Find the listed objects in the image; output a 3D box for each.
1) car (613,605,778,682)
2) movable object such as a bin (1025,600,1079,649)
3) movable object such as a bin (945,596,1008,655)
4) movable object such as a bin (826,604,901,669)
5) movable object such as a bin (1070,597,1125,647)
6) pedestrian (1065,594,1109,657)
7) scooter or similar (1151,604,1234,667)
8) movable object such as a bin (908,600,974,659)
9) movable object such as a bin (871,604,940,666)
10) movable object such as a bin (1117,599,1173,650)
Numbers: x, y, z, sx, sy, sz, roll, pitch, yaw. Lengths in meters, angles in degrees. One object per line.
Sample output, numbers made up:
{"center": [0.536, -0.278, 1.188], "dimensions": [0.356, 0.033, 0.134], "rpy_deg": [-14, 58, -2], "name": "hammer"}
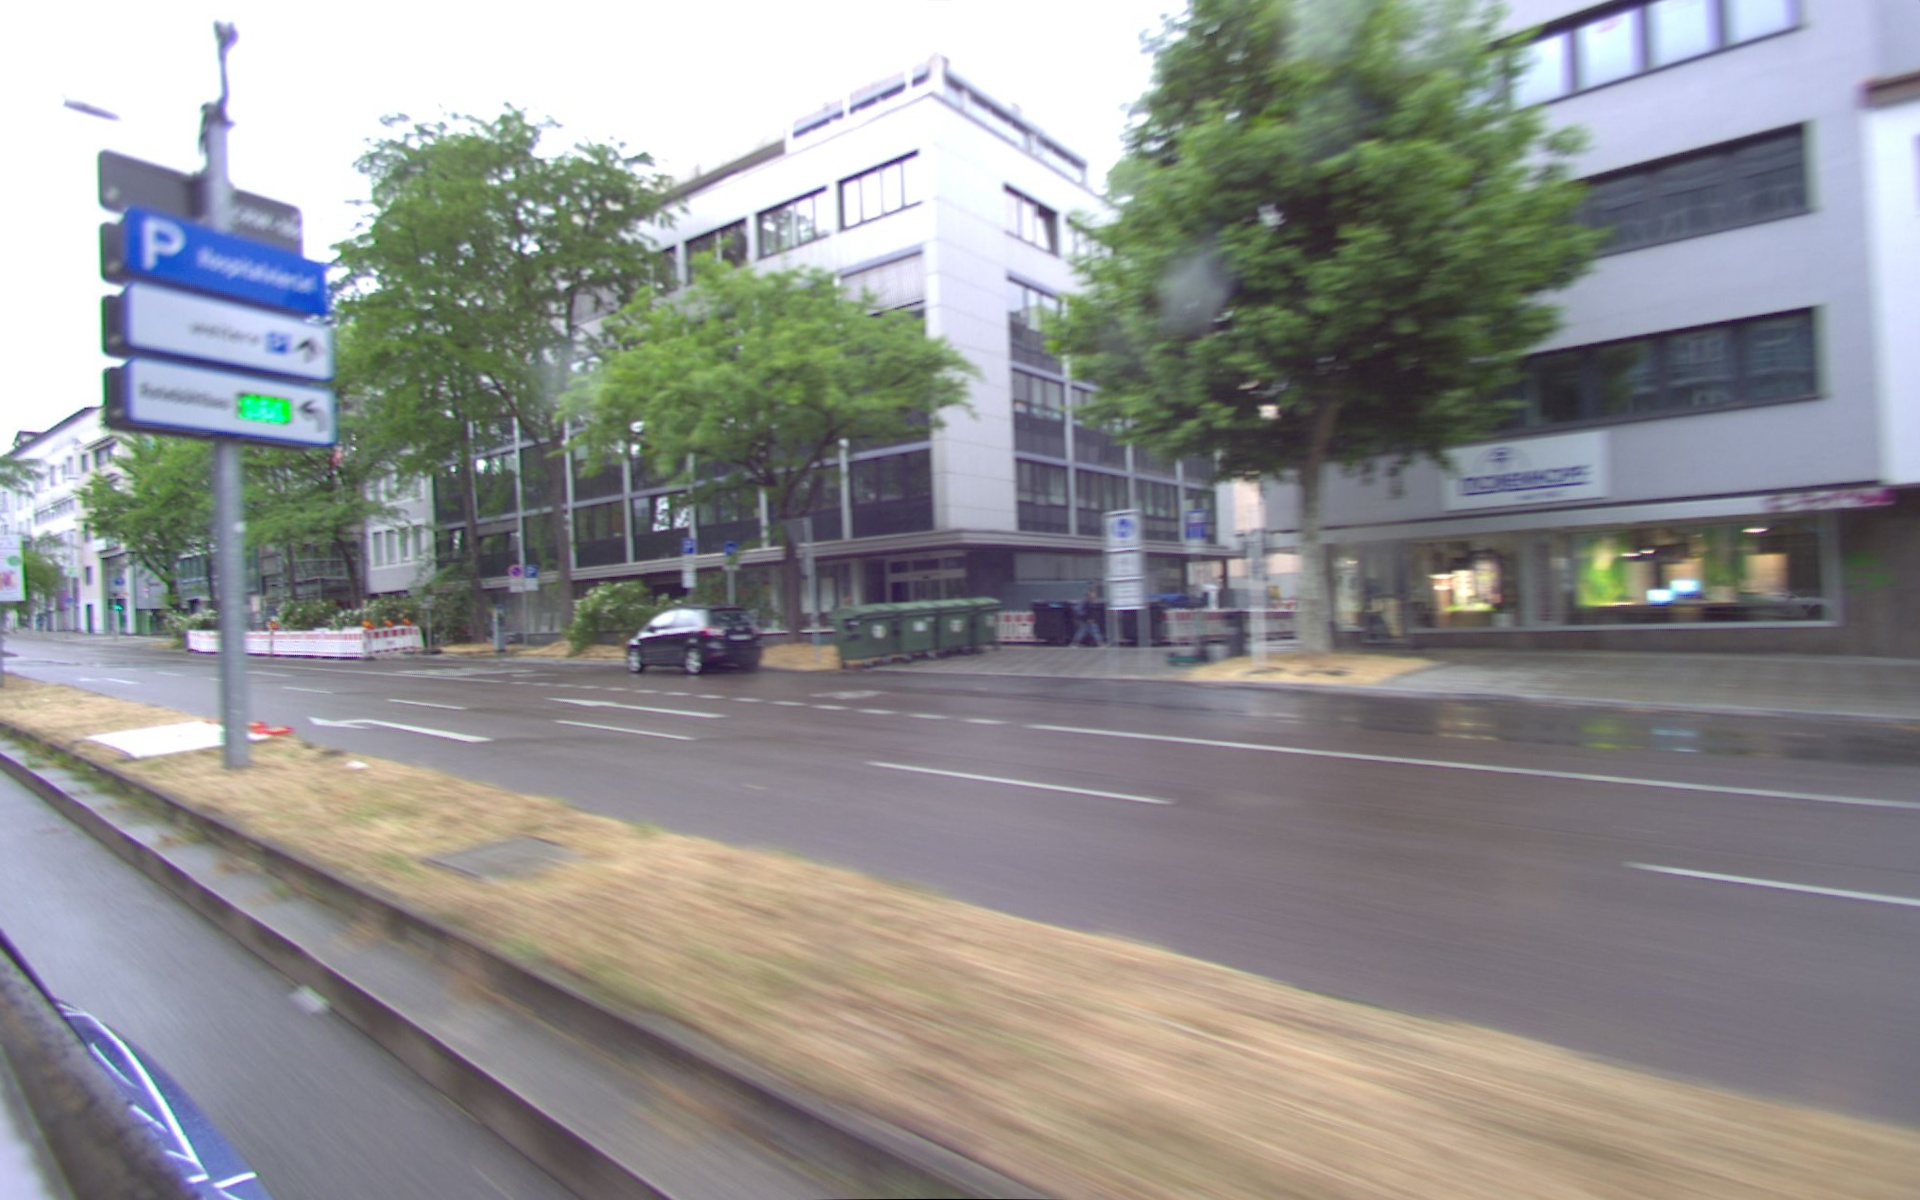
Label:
{"center": [-6.325, 0.992, 24.038], "dimensions": [4.019, 1.648, 1.761], "rpy_deg": [-1, -1, 39], "name": "car"}
{"center": [2.830, 0.741, 31.020], "dimensions": [1.278, 1.446, 1.077], "rpy_deg": [-1, -1, 32], "name": "movable object such as a bin"}
{"center": [0.432, 0.660, 26.635], "dimensions": [1.088, 1.499, 1.265], "rpy_deg": [-2, -1, 41], "name": "movable object such as a bin"}
{"center": [-2.231, 0.820, 23.466], "dimensions": [1.088, 1.437, 1.345], "rpy_deg": [-2, -1, 41], "name": "movable object such as a bin"}
{"center": [4.109, 0.658, 30.154], "dimensions": [1.278, 1.446, 1.077], "rpy_deg": [-1, -1, 32], "name": "movable object such as a bin"}
{"center": [3.549, 0.703, 28.310], "dimensions": [0.895, 1.701, 0.861], "rpy_deg": [-2, -1, 37], "name": "pedestrian"}
{"center": [4.645, 0.716, 20.251], "dimensions": [1.323, 1.130, 0.767], "rpy_deg": [-5, -1, 43], "name": "scooter or similar"}
{"center": [-0.466, 0.738, 25.588], "dimensions": [1.088, 1.437, 1.265], "rpy_deg": [-2, -1, 41], "name": "movable object such as a bin"}
{"center": [-1.311, 0.823, 24.551], "dimensions": [1.088, 1.437, 1.265], "rpy_deg": [-2, -1, 41], "name": "movable object such as a bin"}
{"center": [5.409, 0.719, 29.551], "dimensions": [1.278, 1.446, 1.077], "rpy_deg": [-1, -1, 32], "name": "movable object such as a bin"}
